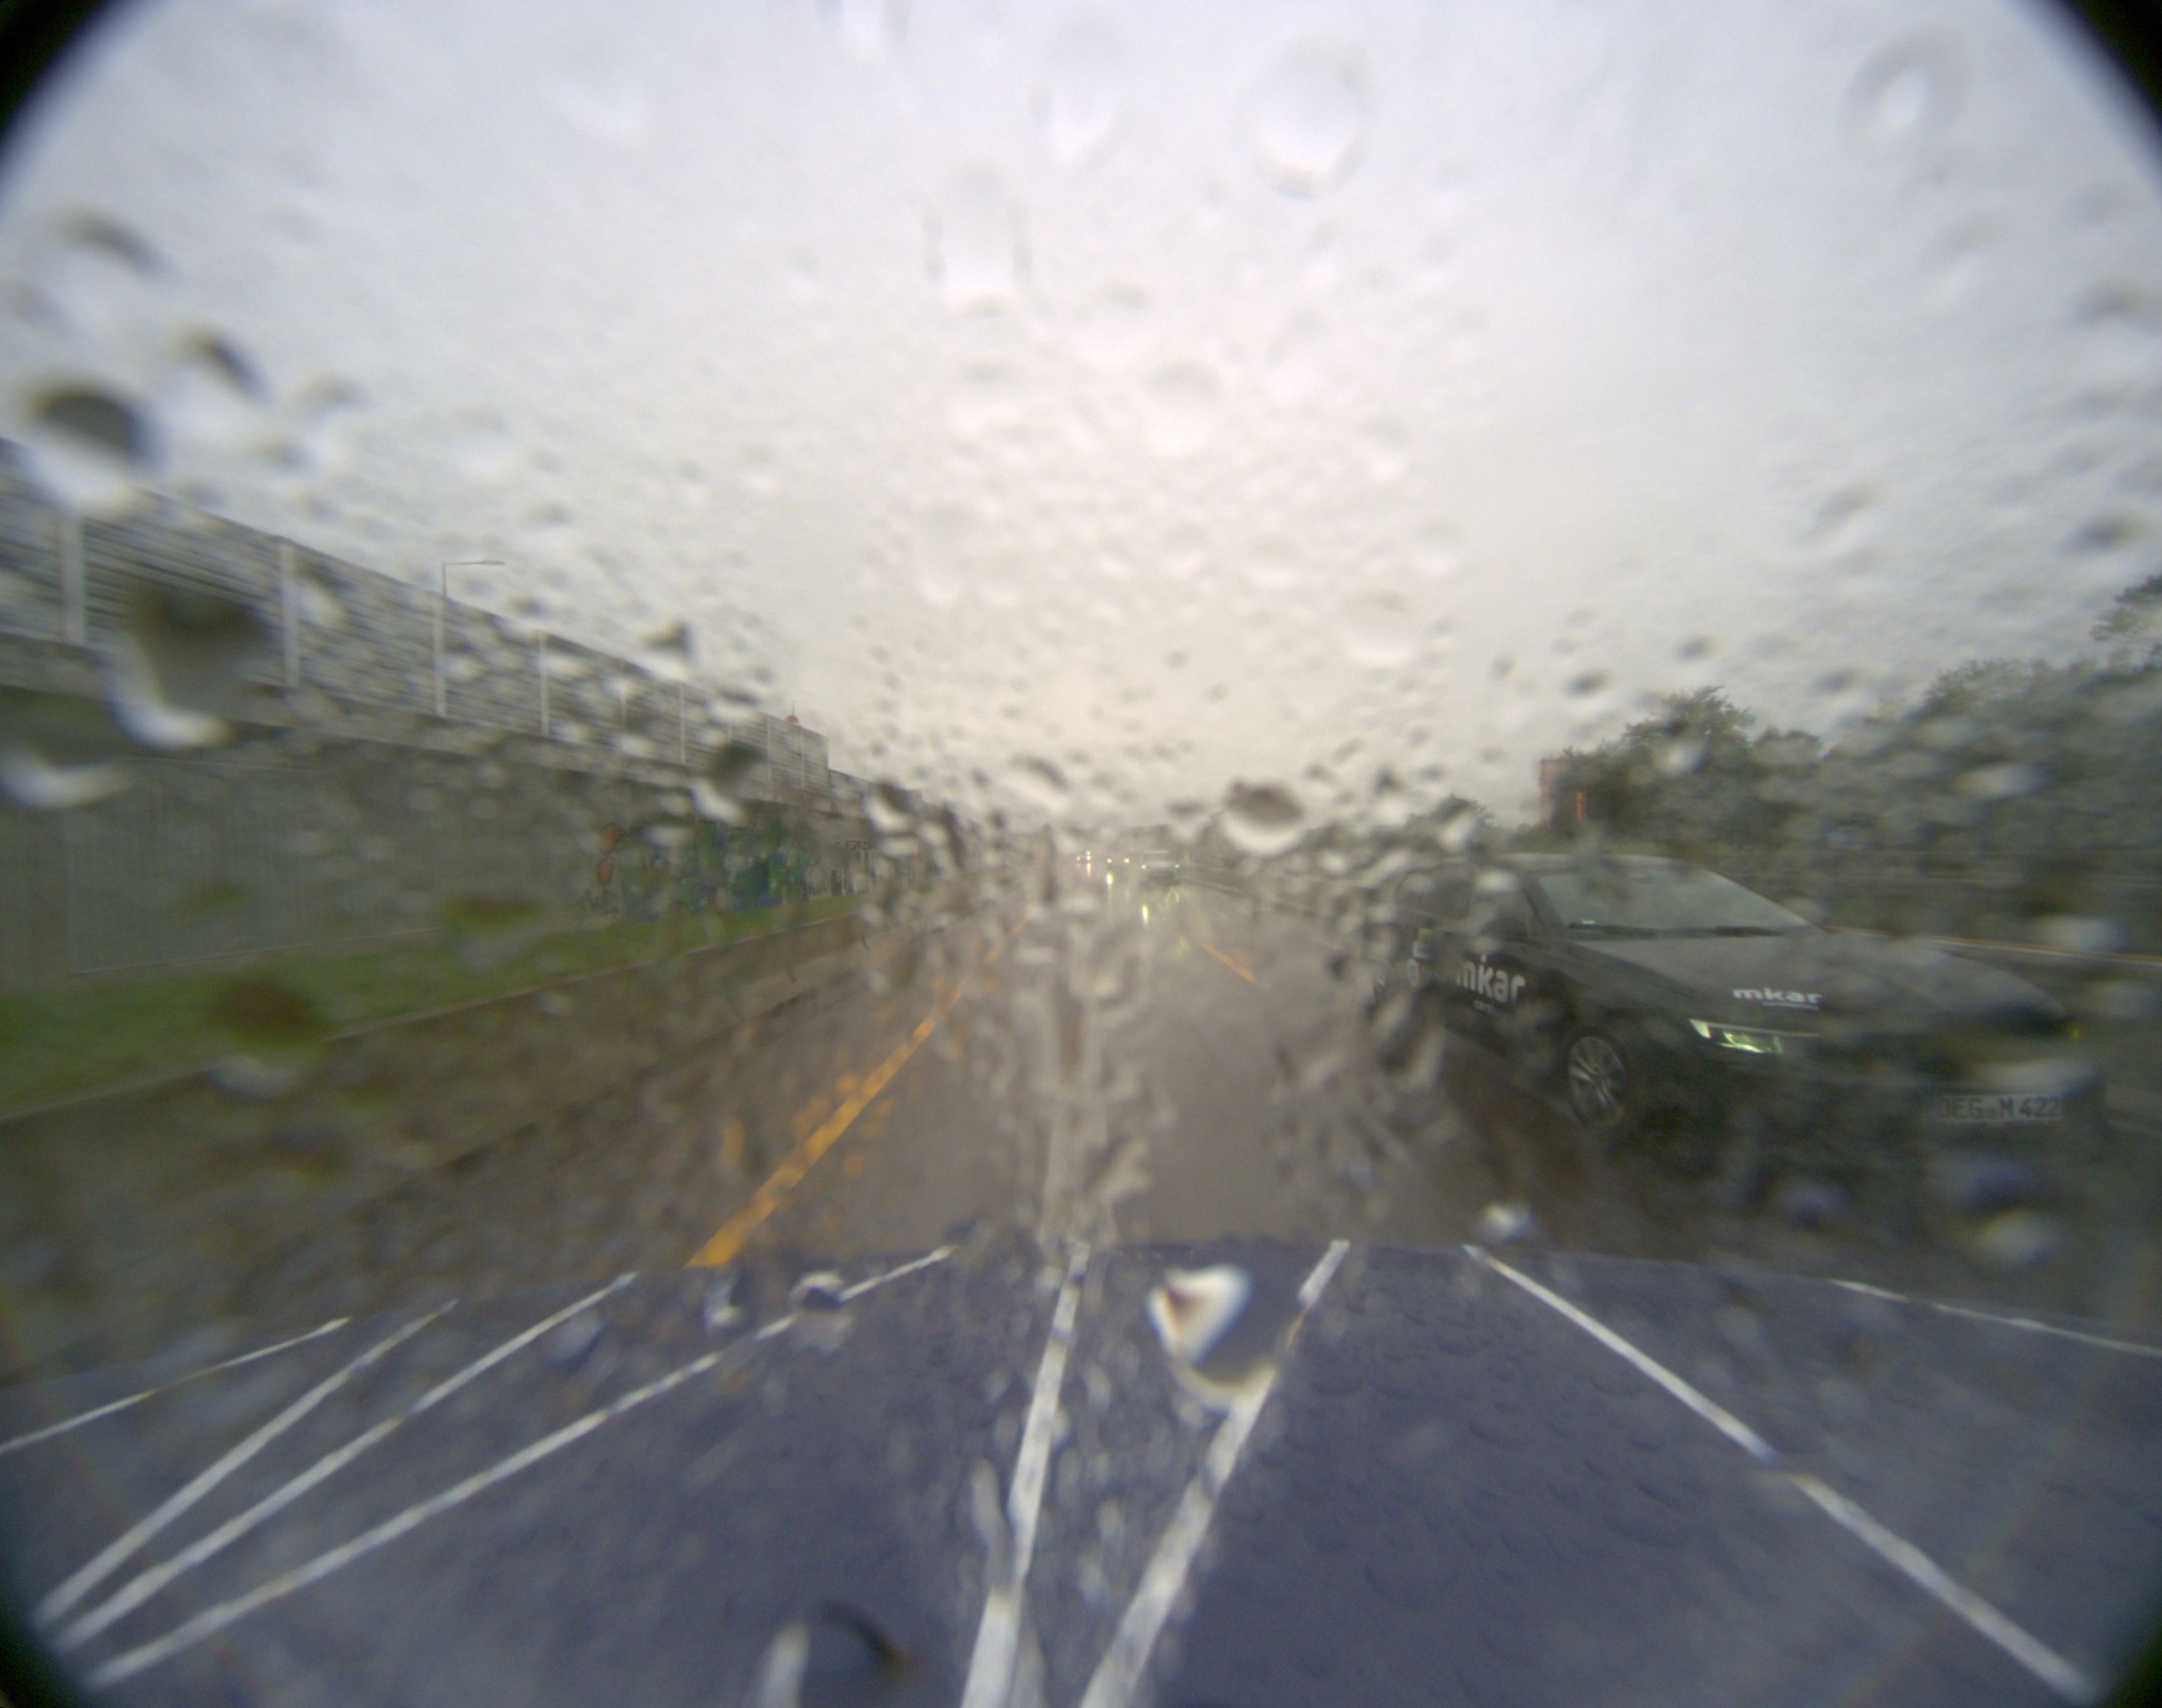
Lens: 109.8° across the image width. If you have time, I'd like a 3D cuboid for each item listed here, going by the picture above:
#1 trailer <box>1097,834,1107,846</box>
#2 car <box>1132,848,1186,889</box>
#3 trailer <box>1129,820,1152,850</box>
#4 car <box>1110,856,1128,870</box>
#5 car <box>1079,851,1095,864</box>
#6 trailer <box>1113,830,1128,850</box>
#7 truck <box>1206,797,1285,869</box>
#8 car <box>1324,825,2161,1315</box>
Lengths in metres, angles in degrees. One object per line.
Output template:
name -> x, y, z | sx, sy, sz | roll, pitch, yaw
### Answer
trailer -> 7.213, -4.837, 258.562 | 2.657, 4.086, 12.310 | -2, 1, -1
car -> 3.610, 0.625, 35.629 | 1.972, 1.670, 3.998 | -2, 1, -2
trailer -> 9.464, -3.019, 121.666 | 2.554, 4.563, 12.006 | -2, 1, 0
car -> 3.249, 0.773, 66.060 | 1.335, 1.105, 3.198 | 1, 0, -1
car -> 0.839, 0.501, 107.954 | 1.999, 1.762, 3.998 | -2, 2, -2
trailer -> 8.908, -3.222, 170.961 | 2.491, 4.418, 11.191 | -2, 1, -1
truck -> 10.300, -1.310, 48.833 | 3.012, 4.143, 9.828 | 0, 2, 0
car -> 3.335, 0.622, 4.867 | 1.944, 1.519, 4.792 | 0, 3, -1
